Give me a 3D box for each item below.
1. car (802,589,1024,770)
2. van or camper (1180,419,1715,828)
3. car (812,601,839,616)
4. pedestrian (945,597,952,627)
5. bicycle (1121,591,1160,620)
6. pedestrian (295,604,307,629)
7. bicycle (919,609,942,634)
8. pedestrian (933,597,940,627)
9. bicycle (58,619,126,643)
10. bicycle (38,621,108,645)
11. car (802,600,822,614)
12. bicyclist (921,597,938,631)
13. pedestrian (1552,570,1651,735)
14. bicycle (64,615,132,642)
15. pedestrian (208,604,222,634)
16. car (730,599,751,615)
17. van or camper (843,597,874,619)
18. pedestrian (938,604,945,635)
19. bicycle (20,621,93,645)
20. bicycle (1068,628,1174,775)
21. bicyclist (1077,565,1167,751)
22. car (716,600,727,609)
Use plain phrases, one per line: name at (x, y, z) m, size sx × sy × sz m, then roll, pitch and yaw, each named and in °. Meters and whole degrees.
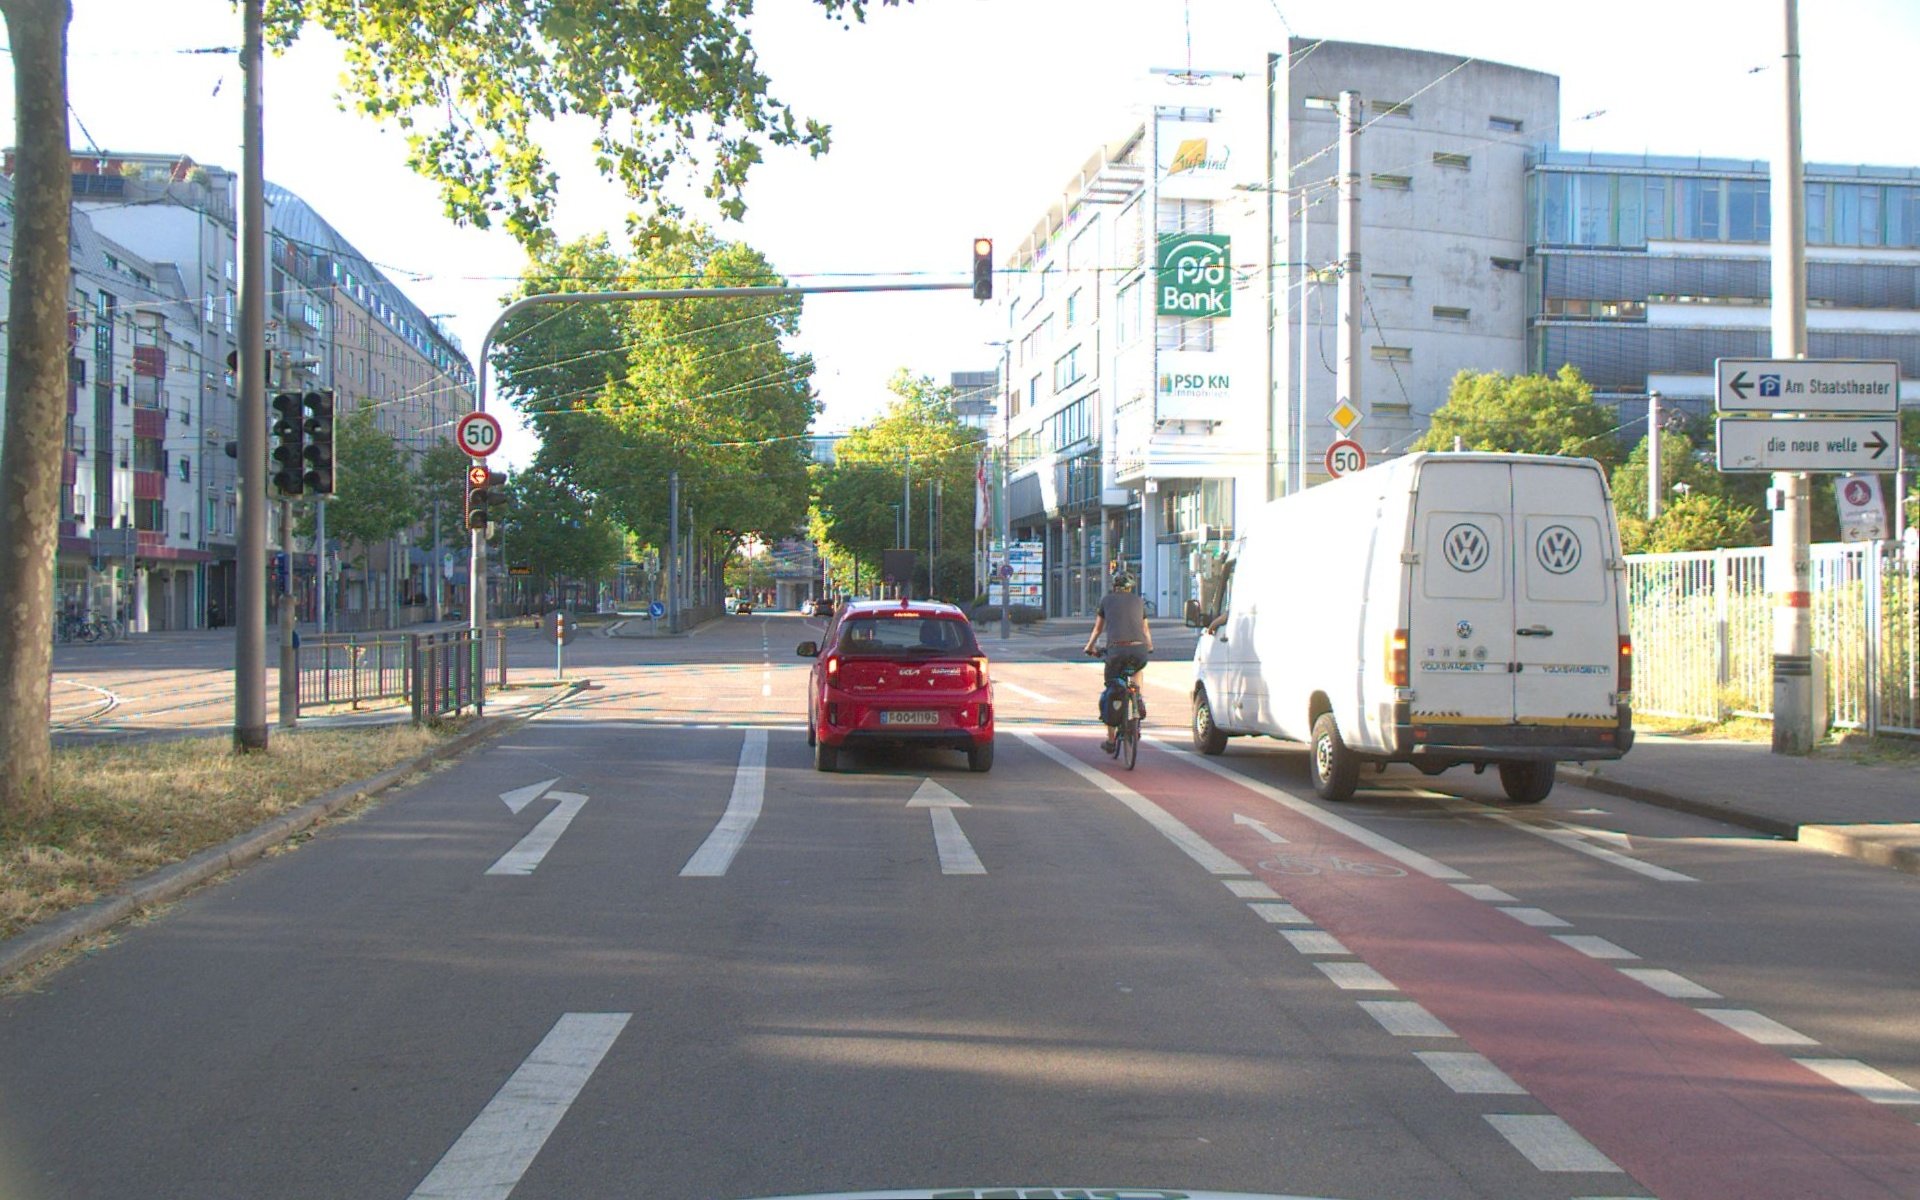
car at (-0.569, 0.664, 15.927) m, size 1.804 × 1.515 × 3.710 m, roll 0°, pitch 0°, yaw -7°
van or camper at (3.854, 0.169, 14.724) m, size 2.225 × 2.781 × 6.338 m, roll 2°, pitch 0°, yaw -6°
car at (-13.992, 0.884, 172.139) m, size 2.432 × 1.555 × 4.422 m, roll -1°, pitch 0°, yaw -9°
pedestrian at (-0.602, 0.629, 86.806) m, size 0.290 × 1.589 × 0.312 m, roll 0°, pitch 0°, yaw -25°
bicycle at (9.256, 0.275, 84.638) m, size 1.898 × 1.468 × 0.574 m, roll -1°, pitch 0°, yaw -9°
pedestrian at (-38.224, 0.951, 95.938) m, size 0.501 × 1.484 × 0.527 m, roll 0°, pitch 0°, yaw -9°
bicycle at (-1.448, 1.019, 80.400) m, size 0.778 × 1.182 × 2.494 m, roll 0°, pitch 0°, yaw -9°
pedestrian at (-1.224, 0.620, 86.385) m, size 0.289 × 1.589 × 0.301 m, roll 0°, pitch 0°, yaw -18°
bicycle at (-31.384, 1.117, 59.820) m, size 2.130 × 0.838 × 0.526 m, roll -1°, pitch 0°, yaw -11°
bicycle at (-31.349, 1.175, 58.457) m, size 2.130 × 0.801 × 0.490 m, roll -1°, pitch 0°, yaw -11°
car at (-16.881, 0.788, 188.512) m, size 1.851 × 1.555 × 4.421 m, roll -1°, pitch 0°, yaw -10°
bicyclist at (-1.493, 0.693, 80.661) m, size 0.770 × 1.663 × 0.637 m, roll 0°, pitch 0°, yaw -9°
pedestrian at (7.134, 0.569, 18.413) m, size 0.770 × 1.779 × 0.772 m, roll -1°, pitch 0°, yaw -2°
bicycle at (-31.509, 1.047, 60.452) m, size 2.130 × 0.967 × 0.490 m, roll 0°, pitch 0°, yaw -11°
pedestrian at (-36.927, 0.959, 81.999) m, size 0.501 × 1.484 × 0.527 m, roll 0°, pitch 0°, yaw -10°
car at (-24.388, 0.769, 183.356) m, size 2.021 × 1.682 × 3.481 m, roll -1°, pitch 0°, yaw -12°
van or camper at (-8.692, 0.653, 140.970) m, size 2.106 × 1.781 × 4.421 m, roll -1°, pitch 0°, yaw -10°
pedestrian at (-0.980, 1.017, 86.769) m, size 0.289 × 1.589 × 0.354 m, roll 0°, pitch 0°, yaw -17°
bicycle at (-31.501, 1.135, 57.670) m, size 2.130 × 0.801 × 0.639 m, roll -1°, pitch 0°, yaw -11°
bicycle at (1.513, 0.931, 15.902) m, size 0.729 × 1.245 × 2.155 m, roll 2°, pitch 0°, yaw -1°
bicyclist at (1.526, 0.536, 15.665) m, size 0.728 × 1.698 × 0.744 m, roll 1°, pitch 0°, yaw -2°
car at (-34.297, 0.654, 237.869) m, size 1.545 × 1.329 × 3.333 m, roll -1°, pitch 0°, yaw -8°
